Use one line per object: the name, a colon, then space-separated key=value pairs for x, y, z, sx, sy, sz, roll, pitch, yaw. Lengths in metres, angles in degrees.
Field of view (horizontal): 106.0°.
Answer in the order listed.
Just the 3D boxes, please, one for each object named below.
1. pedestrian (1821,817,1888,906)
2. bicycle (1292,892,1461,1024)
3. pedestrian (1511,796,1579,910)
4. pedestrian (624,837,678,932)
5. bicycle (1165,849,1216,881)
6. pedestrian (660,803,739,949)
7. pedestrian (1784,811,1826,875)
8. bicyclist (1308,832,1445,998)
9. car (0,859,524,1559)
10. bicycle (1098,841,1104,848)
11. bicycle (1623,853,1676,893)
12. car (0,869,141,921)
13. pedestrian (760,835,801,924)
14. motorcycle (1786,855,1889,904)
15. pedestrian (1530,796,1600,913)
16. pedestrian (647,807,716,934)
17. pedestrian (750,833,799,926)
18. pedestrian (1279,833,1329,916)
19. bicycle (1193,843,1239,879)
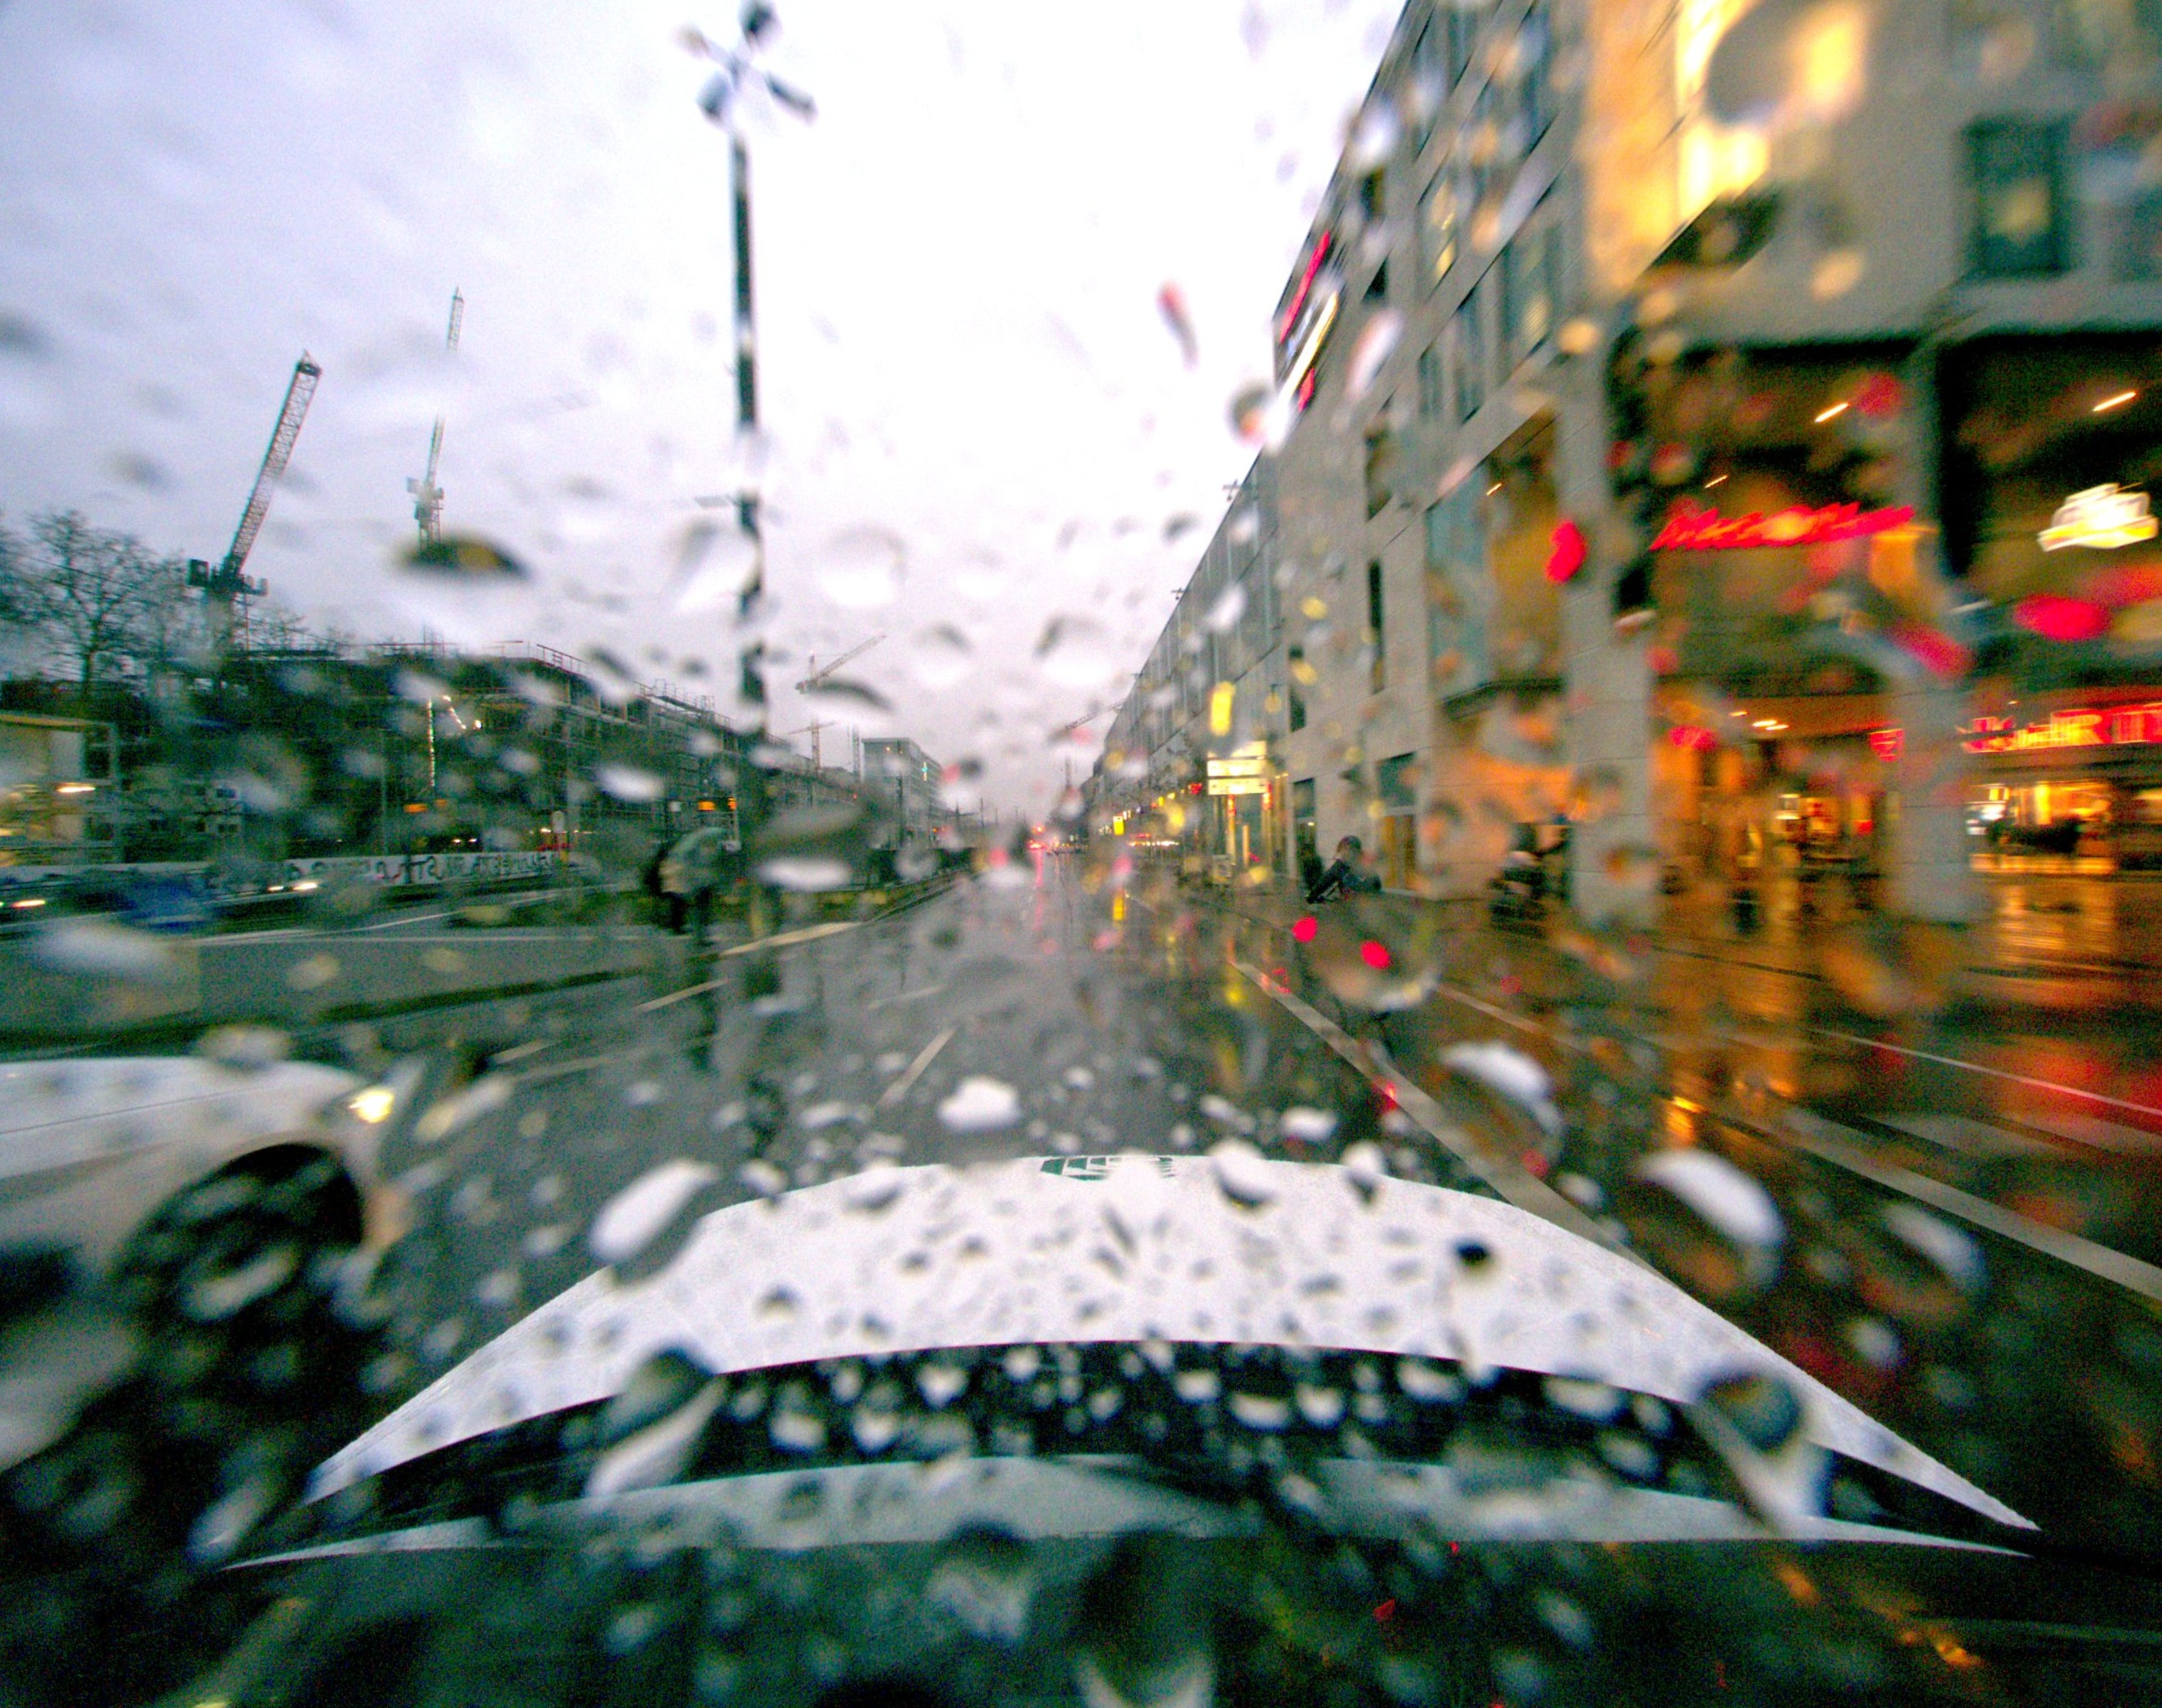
pedestrian: x=14.277 y=0.131 z=15.044 sx=0.775 sy=1.607 sz=0.501 roll=-1 pitch=1 yaw=-2
bicycle: x=2.794 y=0.936 z=8.015 sx=0.939 sy=0.999 sz=2.242 roll=-1 pitch=0 yaw=3
pedestrian: x=9.108 y=-0.020 z=16.017 sx=0.953 sy=2.192 sz=0.713 roll=-1 pitch=0 yaw=9
pedestrian: x=-8.109 y=0.545 z=15.364 sx=0.863 sy=1.714 sz=0.757 roll=-1 pitch=1 yaw=-30
bicycle: x=4.389 y=0.420 z=32.647 sx=1.899 sy=1.175 sz=0.666 roll=-3 pitch=1 yaw=-3
pedestrian: x=-5.872 y=0.314 z=12.599 sx=0.904 sy=2.145 sz=1.013 roll=-1 pitch=1 yaw=-14
pedestrian: x=19.239 y=-0.288 z=21.647 sx=0.617 sy=1.673 sz=0.619 roll=-1 pitch=1 yaw=-23
bicyclist: x=2.761 y=0.532 z=7.732 sx=0.939 sy=1.463 sz=1.067 roll=-1 pitch=1 yaw=2
car: x=-3.303 y=0.800 z=0.805 sx=1.844 sy=1.465 sz=4.952 roll=-1 pitch=1 yaw=4
bicycle: x=3.207 y=-1.558 z=132.741 sx=0.681 sy=1.222 sz=1.903 roll=-4 pitch=1 yaw=-4
bicycle: x=13.168 y=0.429 z=18.862 sx=1.065 sy=0.862 sz=0.343 roll=-2 pitch=1 yaw=-9
car: x=-36.680 y=1.402 z=28.931 sx=1.871 sy=1.616 sz=4.224 roll=-1 pitch=1 yaw=-6
pedestrian: x=-6.017 y=0.490 z=16.291 sx=0.656 sy=1.717 sz=0.743 roll=-1 pitch=1 yaw=-30
motorcycle: x=14.353 y=0.471 z=15.467 sx=1.628 sy=0.889 sz=0.394 roll=-1 pitch=1 yaw=-2
pedestrian: x=9.131 y=0.015 z=15.392 sx=0.958 sy=2.161 sz=0.582 roll=-1 pitch=0 yaw=9
pedestrian: x=-7.247 y=0.275 z=14.759 sx=1.056 sy=2.207 sz=0.949 roll=-1 pitch=1 yaw=-30
pedestrian: x=-5.884 y=0.475 z=15.637 sx=0.659 sy=1.735 sz=0.609 roll=-1 pitch=-1 yaw=33
pedestrian: x=4.737 y=0.424 z=17.320 sx=0.706 sy=1.694 sz=0.720 roll=-3 pitch=1 yaw=-14
bicycle: x=4.913 y=0.249 z=29.697 sx=1.540 sy=1.261 sz=0.671 roll=0 pitch=1 yaw=45
